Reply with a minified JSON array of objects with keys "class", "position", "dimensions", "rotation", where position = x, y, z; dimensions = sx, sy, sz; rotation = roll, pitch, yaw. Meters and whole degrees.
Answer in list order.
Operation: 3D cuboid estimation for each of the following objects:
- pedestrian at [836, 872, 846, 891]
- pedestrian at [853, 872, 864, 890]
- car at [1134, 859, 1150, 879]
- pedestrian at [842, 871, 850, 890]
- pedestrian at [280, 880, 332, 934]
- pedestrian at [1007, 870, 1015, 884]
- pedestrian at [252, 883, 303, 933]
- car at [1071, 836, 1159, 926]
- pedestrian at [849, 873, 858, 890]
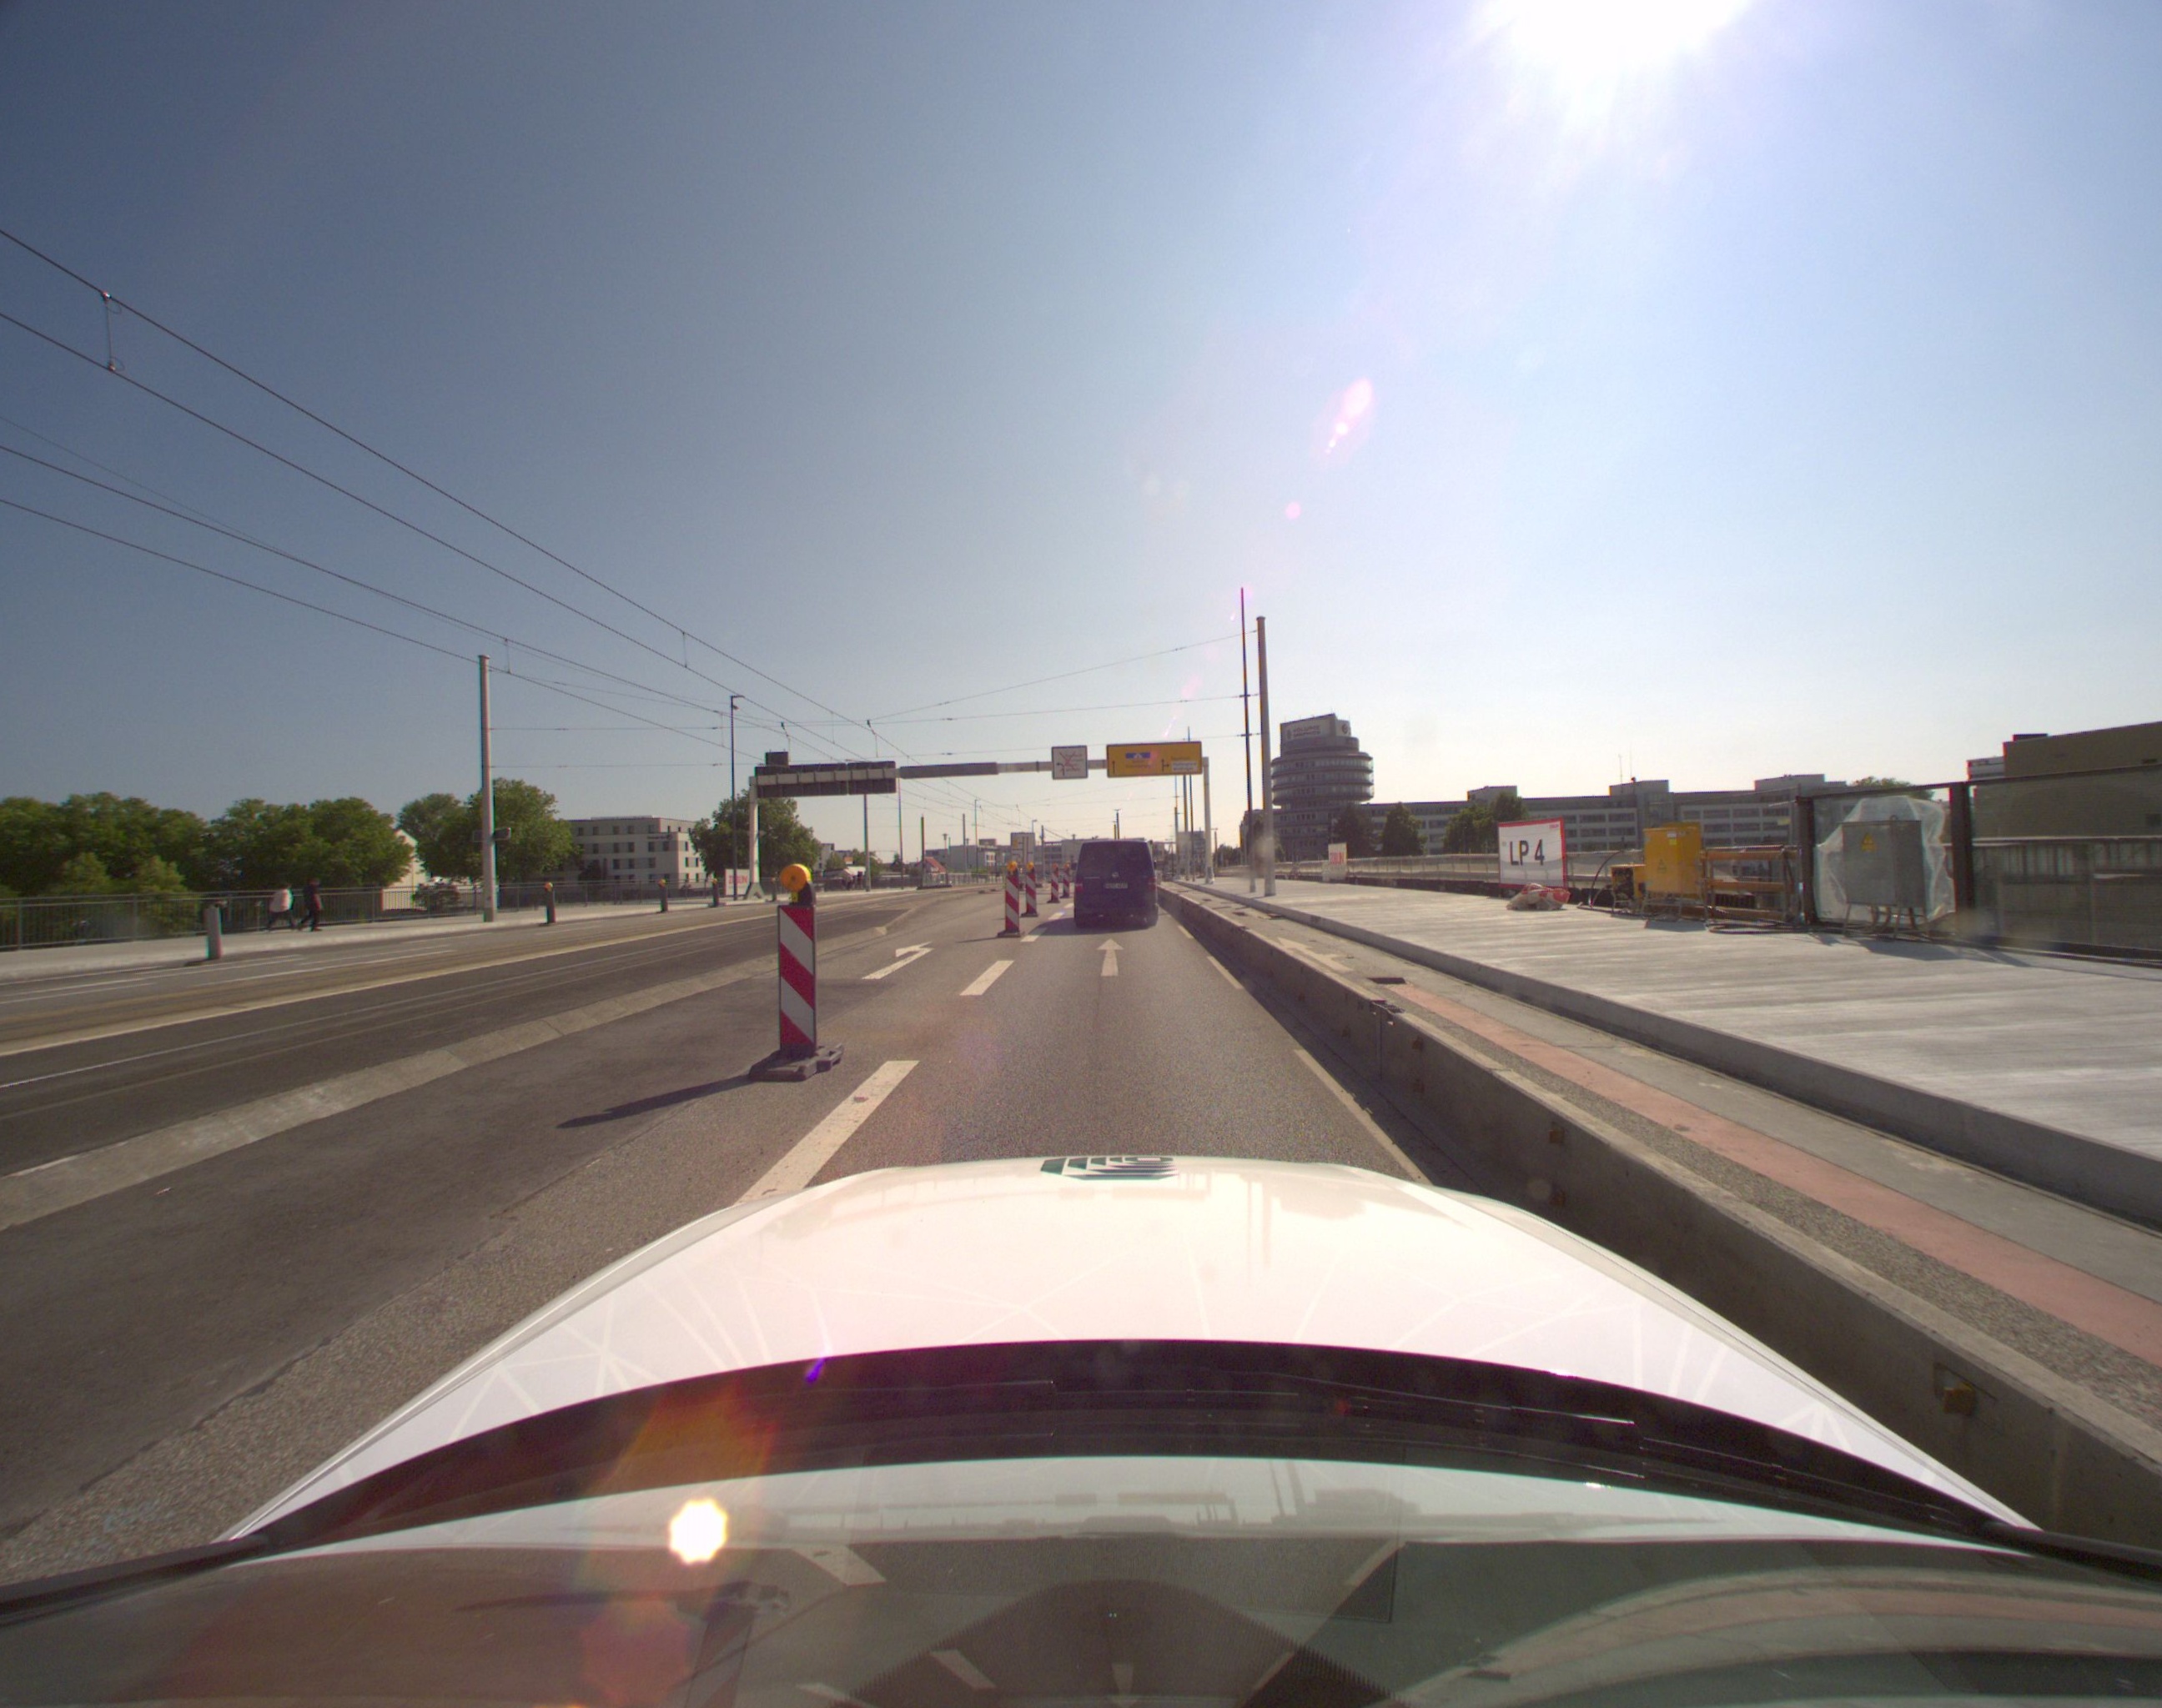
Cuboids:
[{"class":"pedestrian","position":[-22.516,2.579,76.486],"dimensions":[0.594,1.687,0.819],"rotation":[-2,-1,5]},{"class":"pedestrian","position":[-21.477,2.572,78.503],"dimensions":[0.749,1.687,0.733],"rotation":[-2,-1,5]},{"class":"car","position":[9.260,2.254,124.231],"dimensions":[2.328,2.887,5.977],"rotation":[-1,-1,4]},{"class":"pedestrian","position":[-21.978,2.464,76.179],"dimensions":[0.483,1.687,0.809],"rotation":[-2,-1,5]},{"class":"pedestrian","position":[-24.531,1.662,25.802],"dimensions":[0.741,1.642,0.895],"rotation":[0,-1,2]},{"class":"pedestrian","position":[-8.321,2.674,96.281],"dimensions":[0.655,1.654,0.742],"rotation":[-2,-2,16]},{"class":"pedestrian","position":[-25.493,1.695,25.853],"dimensions":[0.717,1.544,0.889],"rotation":[0,-1,2]},{"class":"car","position":[0.788,0.606,19.463],"dimensions":[1.881,1.934,4.001],"rotation":[0,-1,2]},{"class":"pedestrian","position":[-22.221,2.698,79.499],"dimensions":[0.501,1.687,0.774],"rotation":[-2,-1,5]}]
